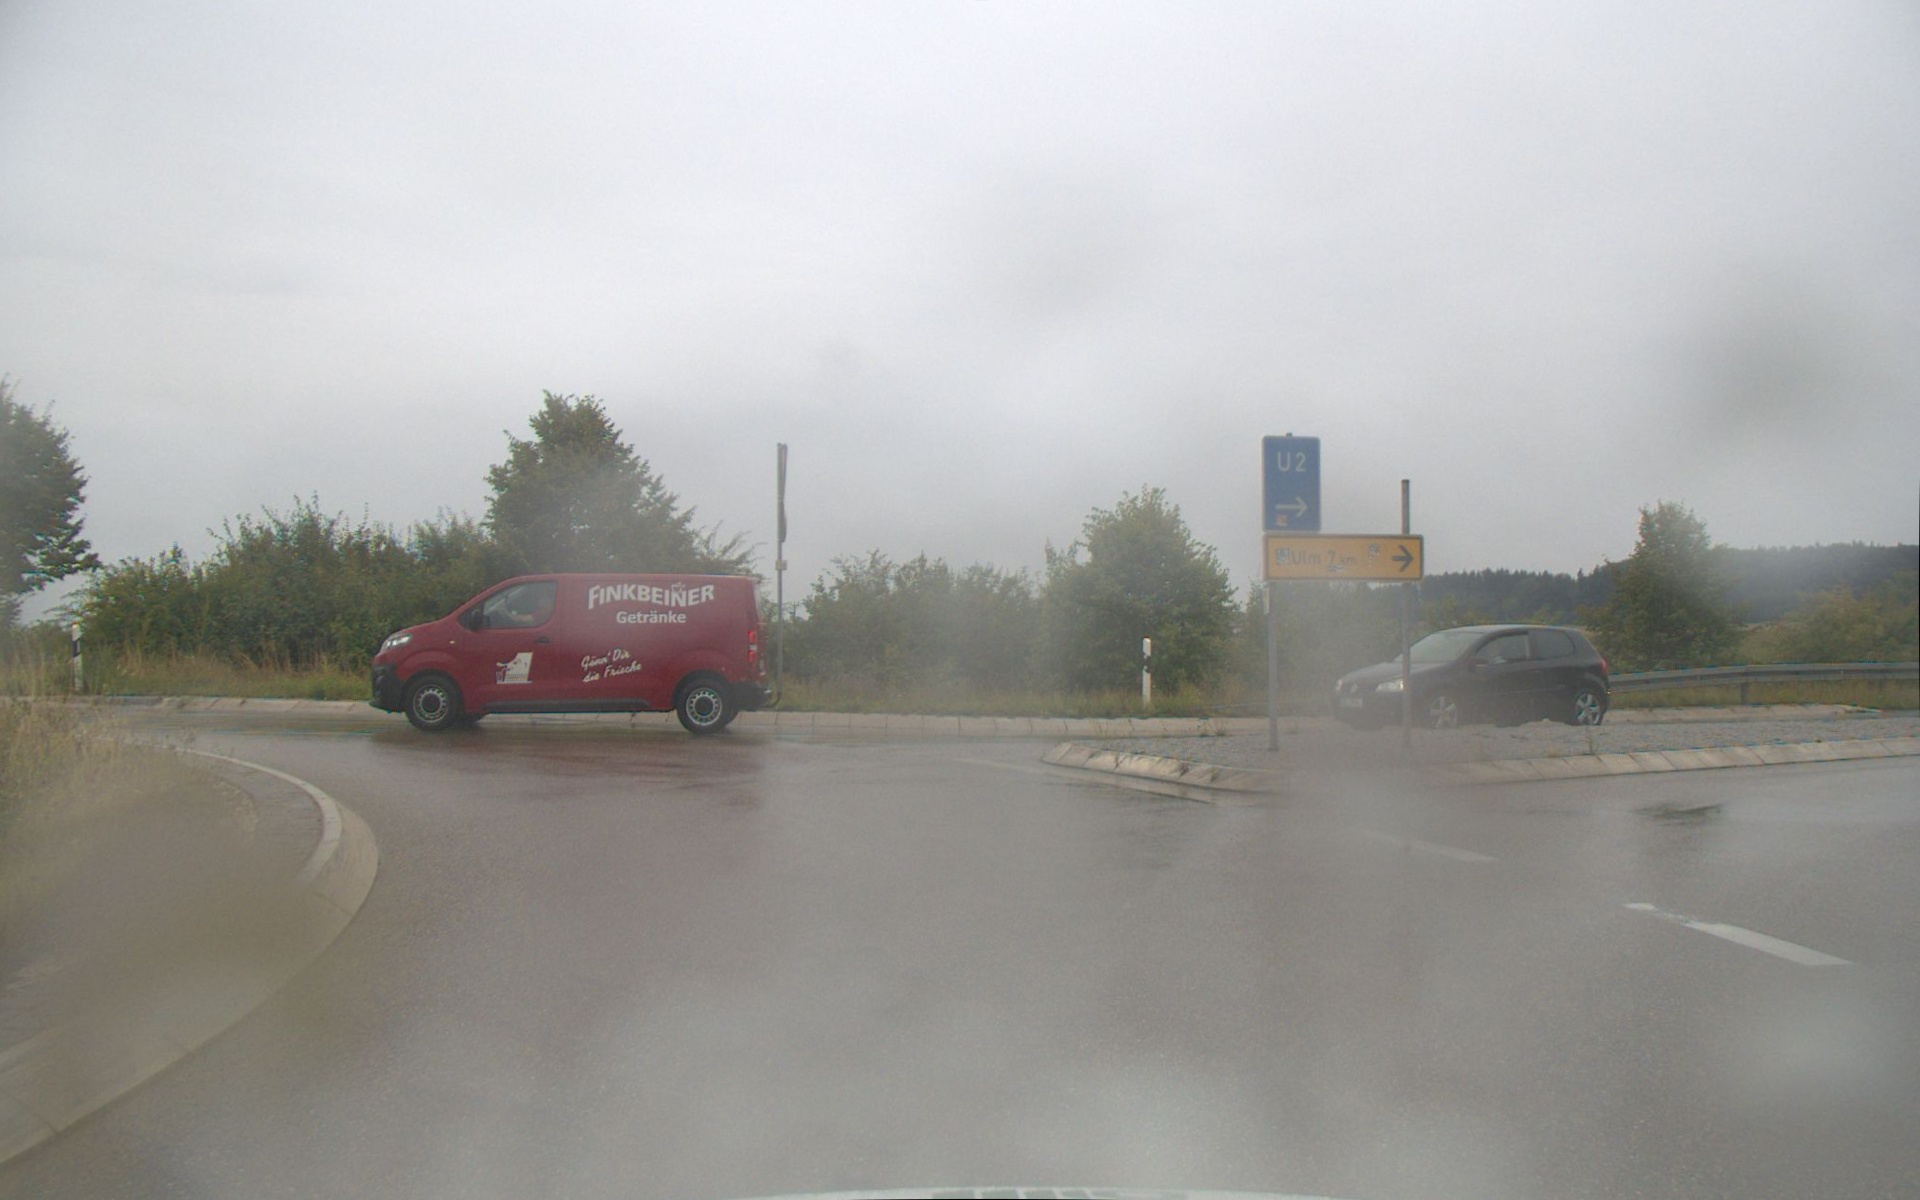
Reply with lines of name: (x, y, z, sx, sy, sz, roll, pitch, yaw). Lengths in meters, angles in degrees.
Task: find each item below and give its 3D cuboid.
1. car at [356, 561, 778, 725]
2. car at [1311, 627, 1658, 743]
car: (-4.740, 0.535, 20.628, 4.868, 1.903, 1.997, 1, -1, -7)
car: (7.220, 1.148, 22.741, 4.428, 1.446, 1.861, 2, -1, -23)
